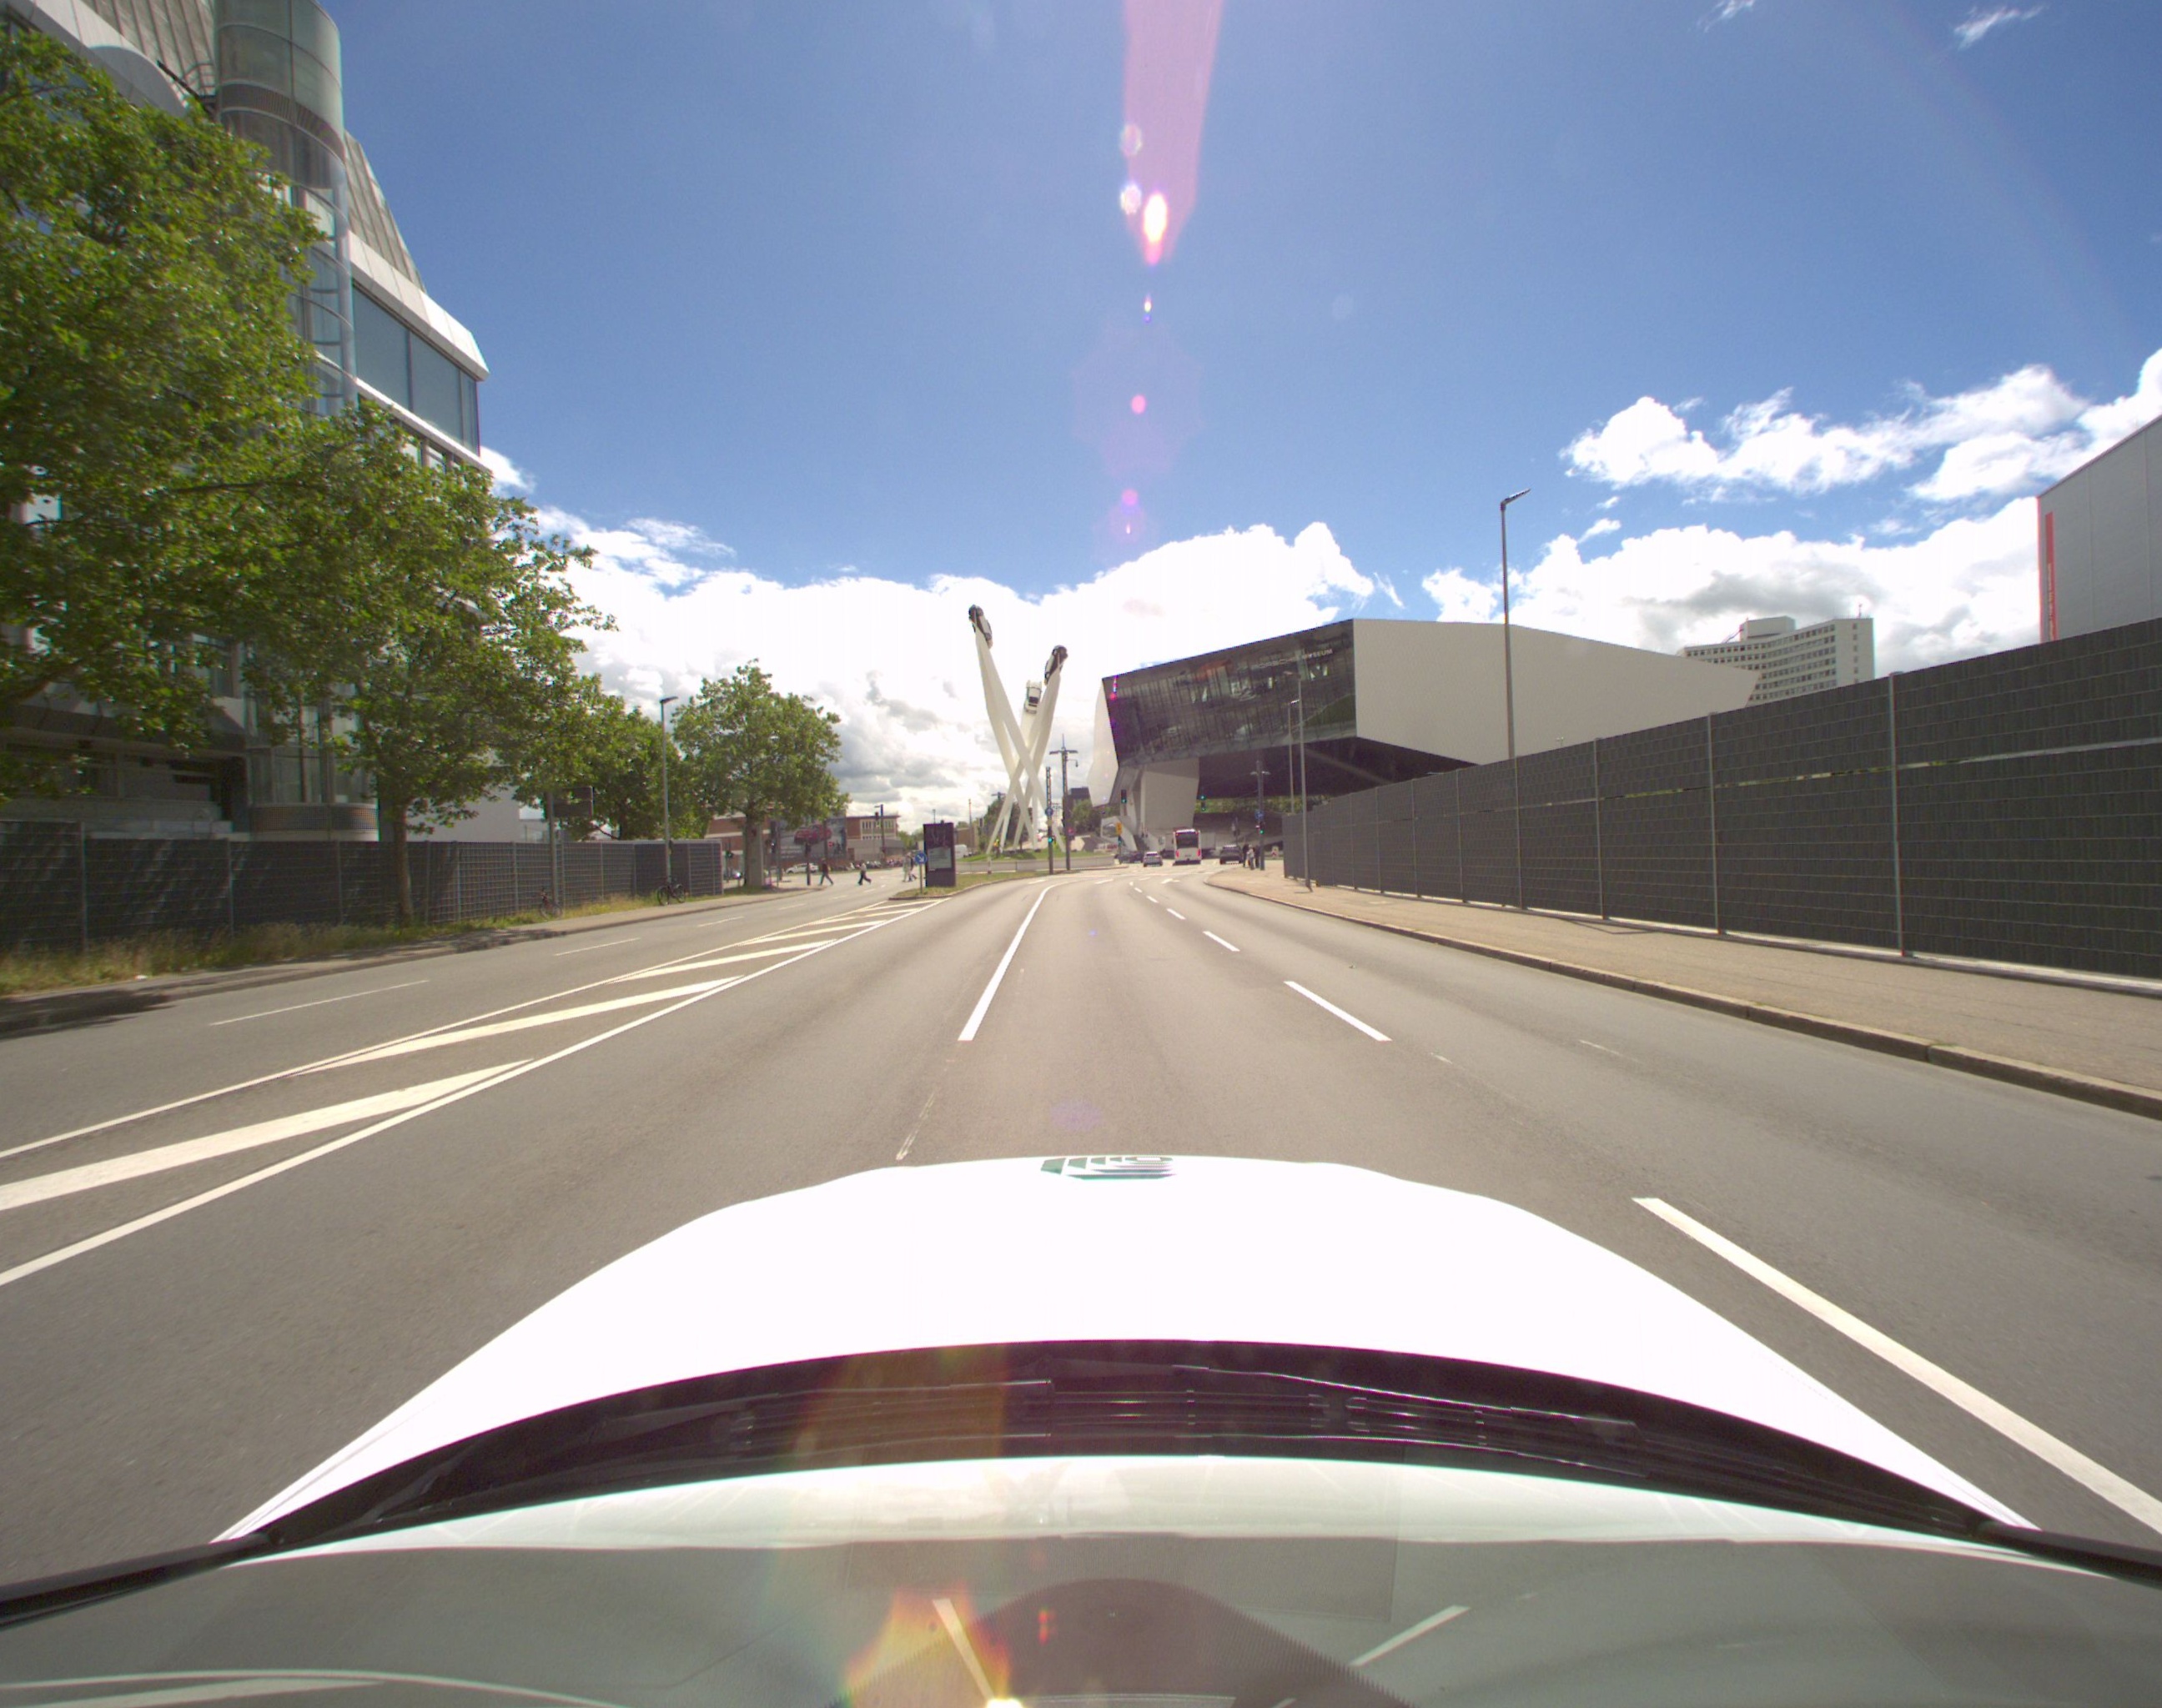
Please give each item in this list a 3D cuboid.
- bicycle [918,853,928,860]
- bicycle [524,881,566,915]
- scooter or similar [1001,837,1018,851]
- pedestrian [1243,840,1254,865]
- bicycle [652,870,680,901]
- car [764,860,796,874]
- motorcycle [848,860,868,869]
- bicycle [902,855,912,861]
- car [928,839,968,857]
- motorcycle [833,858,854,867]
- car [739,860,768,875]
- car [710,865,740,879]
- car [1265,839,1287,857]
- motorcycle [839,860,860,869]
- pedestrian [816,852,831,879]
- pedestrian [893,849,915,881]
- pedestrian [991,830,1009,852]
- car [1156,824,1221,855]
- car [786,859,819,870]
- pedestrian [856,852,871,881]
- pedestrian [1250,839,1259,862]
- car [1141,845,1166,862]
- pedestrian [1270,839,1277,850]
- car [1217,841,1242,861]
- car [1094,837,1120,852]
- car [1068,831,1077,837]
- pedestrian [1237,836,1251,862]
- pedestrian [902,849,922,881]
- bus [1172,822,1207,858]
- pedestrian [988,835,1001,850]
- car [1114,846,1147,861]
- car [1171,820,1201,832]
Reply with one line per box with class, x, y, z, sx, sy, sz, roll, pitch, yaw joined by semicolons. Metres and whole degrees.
bicycle;-22.804;0.378;117.589;0.486;0.866;1.621;-1;4;27
bicycle;-16.566;1.348;25.195;0.294;1.006;1.255;-1;0;9
scooter or similar;-6.414;-0.897;72.913;1.405;1.025;0.546;-6;6;-20
pedestrian;10.967;-0.113;53.415;0.655;1.608;0.825;-1;-1;10
bicycle;-16.119;1.217;31.640;0.295;1.131;1.485;-1;0;2
car;-36.434;1.581;98.693;3.949;1.577;2.012;-1;-1;42
motorcycle;-33.681;1.579;123.176;2.880;1.196;0.924;-1;-1;17
bicycle;-25.611;0.637;120.054;0.486;0.866;1.621;-1;-1;34
car;-16.997;-0.743;104.344;4.621;2.171;2.002;-1;0;3
motorcycle;-34.864;1.264;119.613;2.880;1.196;0.924;-1;-1;17
car;-38.917;1.585;96.802;1.923;1.797;3.729;0;-1;-43
car;-40.556;2.029;92.799;3.908;1.556;1.814;-1;-1;45
car;18.977;-0.584;79.290;1.980;1.636;4.013;-1;0;12
motorcycle;-34.274;1.553;120.680;2.880;1.196;0.924;-1;-1;17
pedestrian;-16.808;0.760;53.224;0.864;1.774;1.030;0;-1;-15
pedestrian;-11.324;0.694;52.119;0.945;2.055;0.955;-1;-1;17
pedestrian;-7.210;-1.180;72.463;1.285;1.816;0.981;-6;4;-17
car;12.785;-1.701;98.035;3.351;3.504;9.267;0;0;-24
car;-38.924;1.411;113.948;3.954;1.500;2.010;-1;0;19
pedestrian;-13.643;0.792;51.143;0.864;1.774;1.030;0;-1;-15
pedestrian;12.022;-0.231;56.423;0.462;1.616;0.663;-1;-1;1
car;7.132;-0.024;79.741;1.980;1.636;4.013;-1;0;12
pedestrian;28.447;-1.352;120.572;0.820;1.572;0.929;-1;-1;26
car;12.859;-0.308;70.428;1.980;1.636;4.013;-1;1;12
car;3.453;-1.237;109.328;2.002;1.904;3.970;0;0;-22
car;-2.142;-4.979;202.431;1.987;1.635;4.656;-1;2;1
pedestrian;11.491;-0.351;57.291;0.660;1.866;0.789;0;-1;-15
pedestrian;-11.012;0.707;53.066;0.945;2.055;0.955;-1;-1;17
bus;11.089;-1.305;82.401;3.053;3.362;12.256;-1;0;10
pedestrian;-8.991;-1.181;84.751;0.845;1.407;0.970;-8;-3;21
car;5.635;-0.082;93.360;2.005;1.636;3.963;0;0;-29
car;16.464;-4.444;128.043;2.012;1.394;4.459;-7;11;-44
